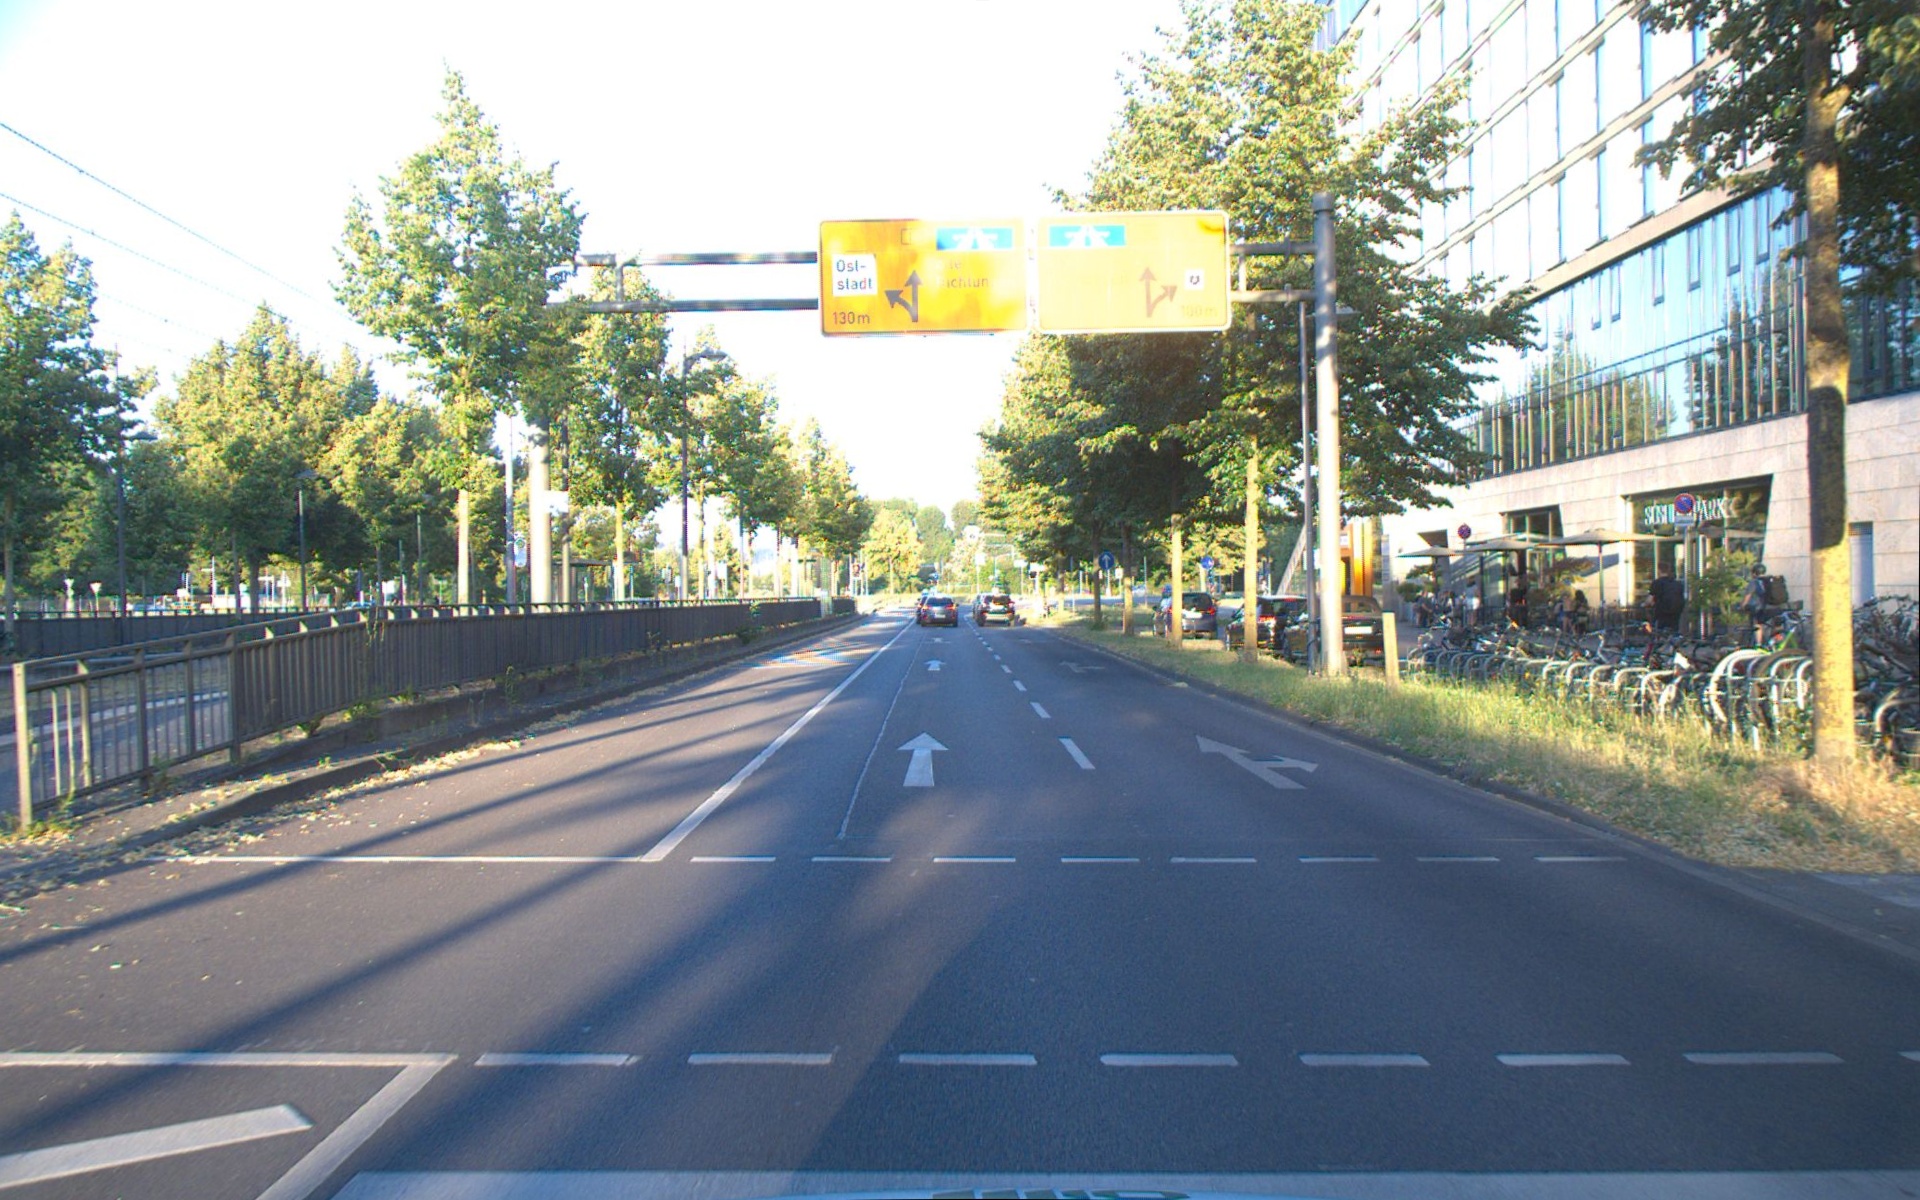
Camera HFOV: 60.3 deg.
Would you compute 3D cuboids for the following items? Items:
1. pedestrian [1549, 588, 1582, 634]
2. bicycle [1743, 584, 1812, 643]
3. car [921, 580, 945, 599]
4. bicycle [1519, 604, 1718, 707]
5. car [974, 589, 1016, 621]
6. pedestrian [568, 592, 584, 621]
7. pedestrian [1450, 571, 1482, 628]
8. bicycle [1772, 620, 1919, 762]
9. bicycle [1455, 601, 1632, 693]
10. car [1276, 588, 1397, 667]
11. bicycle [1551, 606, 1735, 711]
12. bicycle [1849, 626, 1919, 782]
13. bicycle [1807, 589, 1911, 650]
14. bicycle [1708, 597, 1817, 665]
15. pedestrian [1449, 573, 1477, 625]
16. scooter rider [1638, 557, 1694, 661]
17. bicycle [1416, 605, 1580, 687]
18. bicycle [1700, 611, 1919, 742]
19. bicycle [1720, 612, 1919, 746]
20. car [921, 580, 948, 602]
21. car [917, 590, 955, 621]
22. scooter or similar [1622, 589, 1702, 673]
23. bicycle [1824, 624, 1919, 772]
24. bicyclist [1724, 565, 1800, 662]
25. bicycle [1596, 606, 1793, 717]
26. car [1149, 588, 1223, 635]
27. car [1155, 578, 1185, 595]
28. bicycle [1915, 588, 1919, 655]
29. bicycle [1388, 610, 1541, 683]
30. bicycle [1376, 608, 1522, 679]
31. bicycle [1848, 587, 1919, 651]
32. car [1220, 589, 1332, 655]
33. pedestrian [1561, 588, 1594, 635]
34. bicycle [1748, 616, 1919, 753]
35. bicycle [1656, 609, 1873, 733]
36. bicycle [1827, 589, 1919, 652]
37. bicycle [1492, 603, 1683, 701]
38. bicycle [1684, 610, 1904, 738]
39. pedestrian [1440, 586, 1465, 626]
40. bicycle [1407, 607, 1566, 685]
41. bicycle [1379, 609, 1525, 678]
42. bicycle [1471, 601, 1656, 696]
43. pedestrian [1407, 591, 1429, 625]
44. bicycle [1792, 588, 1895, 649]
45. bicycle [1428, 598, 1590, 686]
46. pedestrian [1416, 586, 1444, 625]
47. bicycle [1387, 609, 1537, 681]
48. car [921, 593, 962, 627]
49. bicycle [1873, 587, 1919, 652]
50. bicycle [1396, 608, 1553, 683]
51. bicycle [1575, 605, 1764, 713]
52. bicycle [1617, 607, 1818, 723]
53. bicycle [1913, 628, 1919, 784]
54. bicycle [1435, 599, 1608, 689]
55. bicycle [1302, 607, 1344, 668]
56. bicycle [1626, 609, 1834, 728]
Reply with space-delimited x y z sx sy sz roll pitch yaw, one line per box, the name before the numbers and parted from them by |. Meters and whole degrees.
pedestrian | 16.367 0.284 44.730 0.560 1.216 0.806 -1 0 0
bicycle | 17.647 0.285 35.742 0.459 1.229 2.264 -1 0 3
car | -2.224 -0.880 136.079 1.873 1.512 3.999 -1 0 -1
bicycle | 7.611 0.636 19.144 2.102 1.072 0.570 3 0 -8
car | 1.665 0.229 80.675 1.873 1.512 3.999 -1 0 -1
pedestrian | -17.635 0.304 75.966 0.602 1.342 0.744 -1 0 -4
pedestrian | 15.872 -0.005 51.884 0.696 1.767 0.682 -1 0 -31
bicycle | 7.625 0.748 13.370 1.905 1.072 0.544 3 0 -8
bicycle | 7.450 0.599 21.137 2.102 1.072 0.524 3 0 -8
car | 7.580 0.515 33.609 1.543 1.498 3.881 -1 0 0
bicycle | 7.593 0.645 18.393 1.905 1.072 0.404 3 0 -8
bicycle | 7.491 0.769 12.053 1.910 1.072 0.543 3 0 -16
bicycle | 17.015 0.359 31.315 1.749 1.123 0.508 -1 0 -6
bicycle | 13.609 0.507 28.125 0.756 1.098 2.062 -1 0 -3
pedestrian | 17.104 -0.029 56.255 0.625 1.748 0.695 -1 0 -20
scooter rider | 11.549 0.145 27.083 0.515 1.667 0.831 -1 0 -3
bicycle | 7.330 0.623 22.540 2.102 1.004 0.442 3 0 -8
bicycle | 7.579 0.682 14.722 1.905 1.072 0.314 3 0 -8
bicycle | 7.605 0.690 14.339 1.905 1.072 0.408 3 0 -8
car | -1.865 -0.671 119.235 1.873 1.512 3.999 -1 0 -1
car | -1.258 0.272 84.608 1.873 1.512 3.999 -1 0 -1
scooter or similar | 11.545 0.497 27.240 0.515 1.333 1.663 -1 0 -3
bicycle | 7.700 0.770 12.736 1.907 1.072 0.543 3 0 -12
bicyclist | 13.599 0.225 28.054 0.756 1.594 0.991 -1 0 -3
bicycle | 7.743 0.647 17.456 1.903 1.072 0.404 3 0 -4
car | 7.591 0.362 55.859 1.722 1.491 4.156 -1 0 -3
car | 21.616 -1.385 170.095 1.953 1.758 3.999 -1 0 23
bicycle | 17.065 0.351 27.824 1.749 1.123 0.508 -1 0 -6
bicycle | 7.309 0.676 23.983 2.102 0.956 0.451 3 0 -8
bicycle | 7.409 0.658 25.077 2.102 0.956 0.442 3 0 -8
bicycle | 17.011 0.338 29.835 1.749 1.123 0.508 -1 0 -6
car | 7.678 0.509 40.513 1.742 1.498 4.286 -1 0 -2
pedestrian | 16.348 0.300 43.786 0.559 1.216 0.807 -1 0 1
bicycle | 7.637 0.719 13.893 1.905 1.072 0.408 3 0 -8
bicycle | 7.581 0.666 15.590 1.905 1.072 0.414 3 0 -8
bicycle | 16.987 0.373 30.506 1.749 1.123 0.508 -1 0 -6
bicycle | 7.551 0.622 19.923 2.102 1.072 0.561 3 0 -8
bicycle | 7.606 0.675 15.087 1.905 1.072 0.347 3 0 -8
pedestrian | 16.480 0.203 55.385 0.567 1.305 0.738 -1 0 -5
bicycle | 7.331 0.639 23.022 2.102 0.990 0.442 3 0 -9
bicycle | 7.607 0.677 25.605 2.102 0.956 0.544 3 0 -8
bicycle | 7.484 0.601 20.528 2.102 1.072 0.570 3 0 -8
pedestrian | 16.343 0.280 59.004 0.560 1.207 0.861 -1 0 1
bicycle | 17.016 0.349 31.870 1.749 1.123 0.508 -1 0 -6
bicycle | 7.348 0.565 22.134 2.102 1.072 0.300 3 0 -8
pedestrian | 15.833 0.190 55.728 0.617 1.305 0.712 -1 0 -22
bicycle | 7.400 0.666 24.387 2.102 0.956 0.442 3 0 -8
car | -0.880 0.439 78.137 1.873 1.512 3.999 -1 0 -1
bicycle | 17.129 0.327 29.218 1.749 1.123 0.508 -1 0 -6
bicycle | 7.308 0.648 23.496 2.102 0.956 0.442 3 0 -8
bicycle | 7.691 0.642 17.934 1.905 1.072 0.404 3 0 -8
bicycle | 7.690 0.658 16.794 1.905 1.072 0.414 3 0 -8
bicycle | 7.606 0.776 11.453 1.910 1.072 0.543 3 0 -16
bicycle | 7.355 0.570 21.691 2.102 1.072 0.524 3 0 -8
bicycle | 6.162 0.621 28.124 0.312 0.997 1.846 -1 0 0
bicycle | 7.533 0.666 16.189 1.905 1.072 0.414 3 0 -8
